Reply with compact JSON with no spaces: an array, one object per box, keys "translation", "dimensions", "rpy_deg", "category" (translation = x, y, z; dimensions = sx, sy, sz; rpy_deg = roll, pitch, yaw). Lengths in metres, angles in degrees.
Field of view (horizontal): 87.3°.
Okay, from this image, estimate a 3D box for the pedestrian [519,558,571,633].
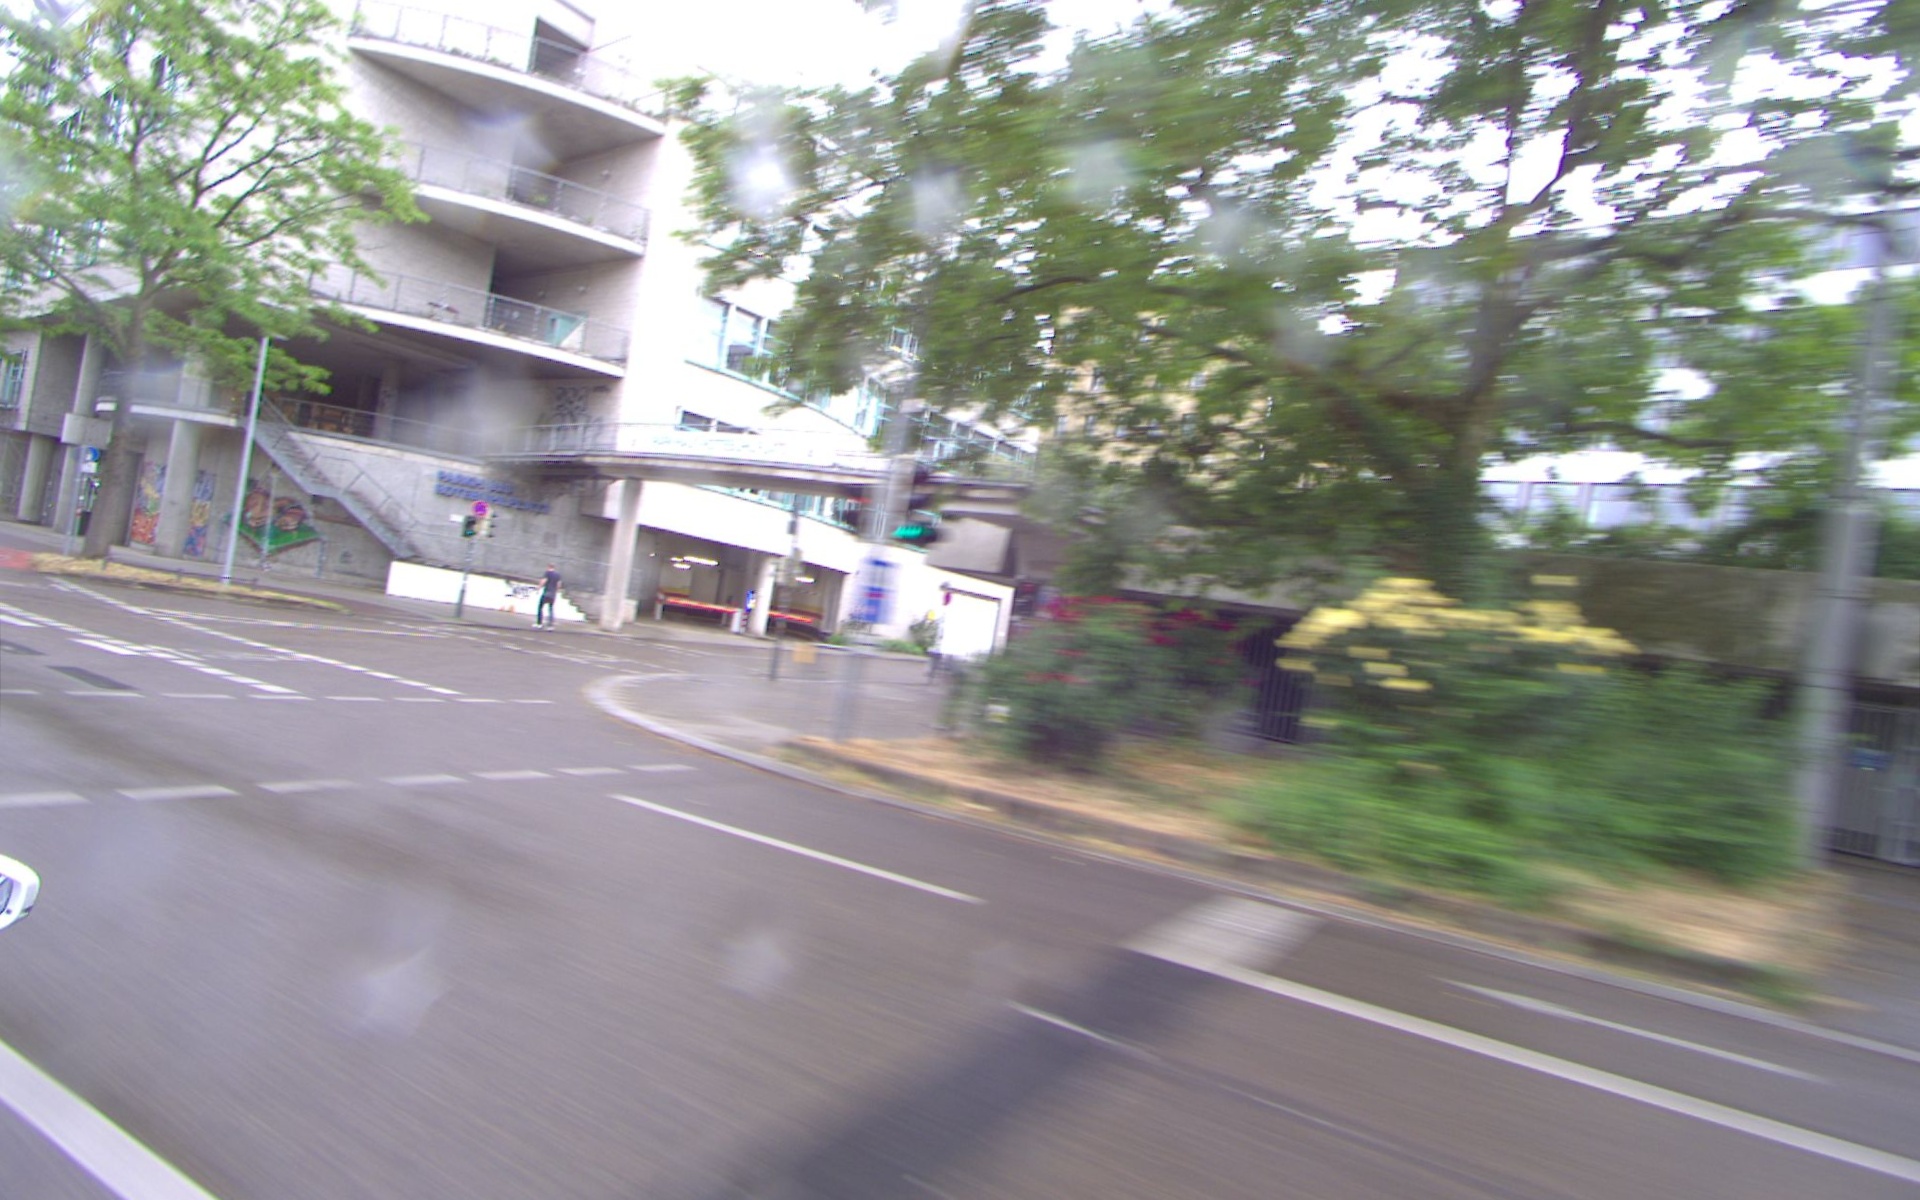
[{"translation":[-11.588,-0.121,28.114],"dimensions":[0.745,1.932,0.847],"rpy_deg":[7,-1,32],"category":"pedestrian"}]
